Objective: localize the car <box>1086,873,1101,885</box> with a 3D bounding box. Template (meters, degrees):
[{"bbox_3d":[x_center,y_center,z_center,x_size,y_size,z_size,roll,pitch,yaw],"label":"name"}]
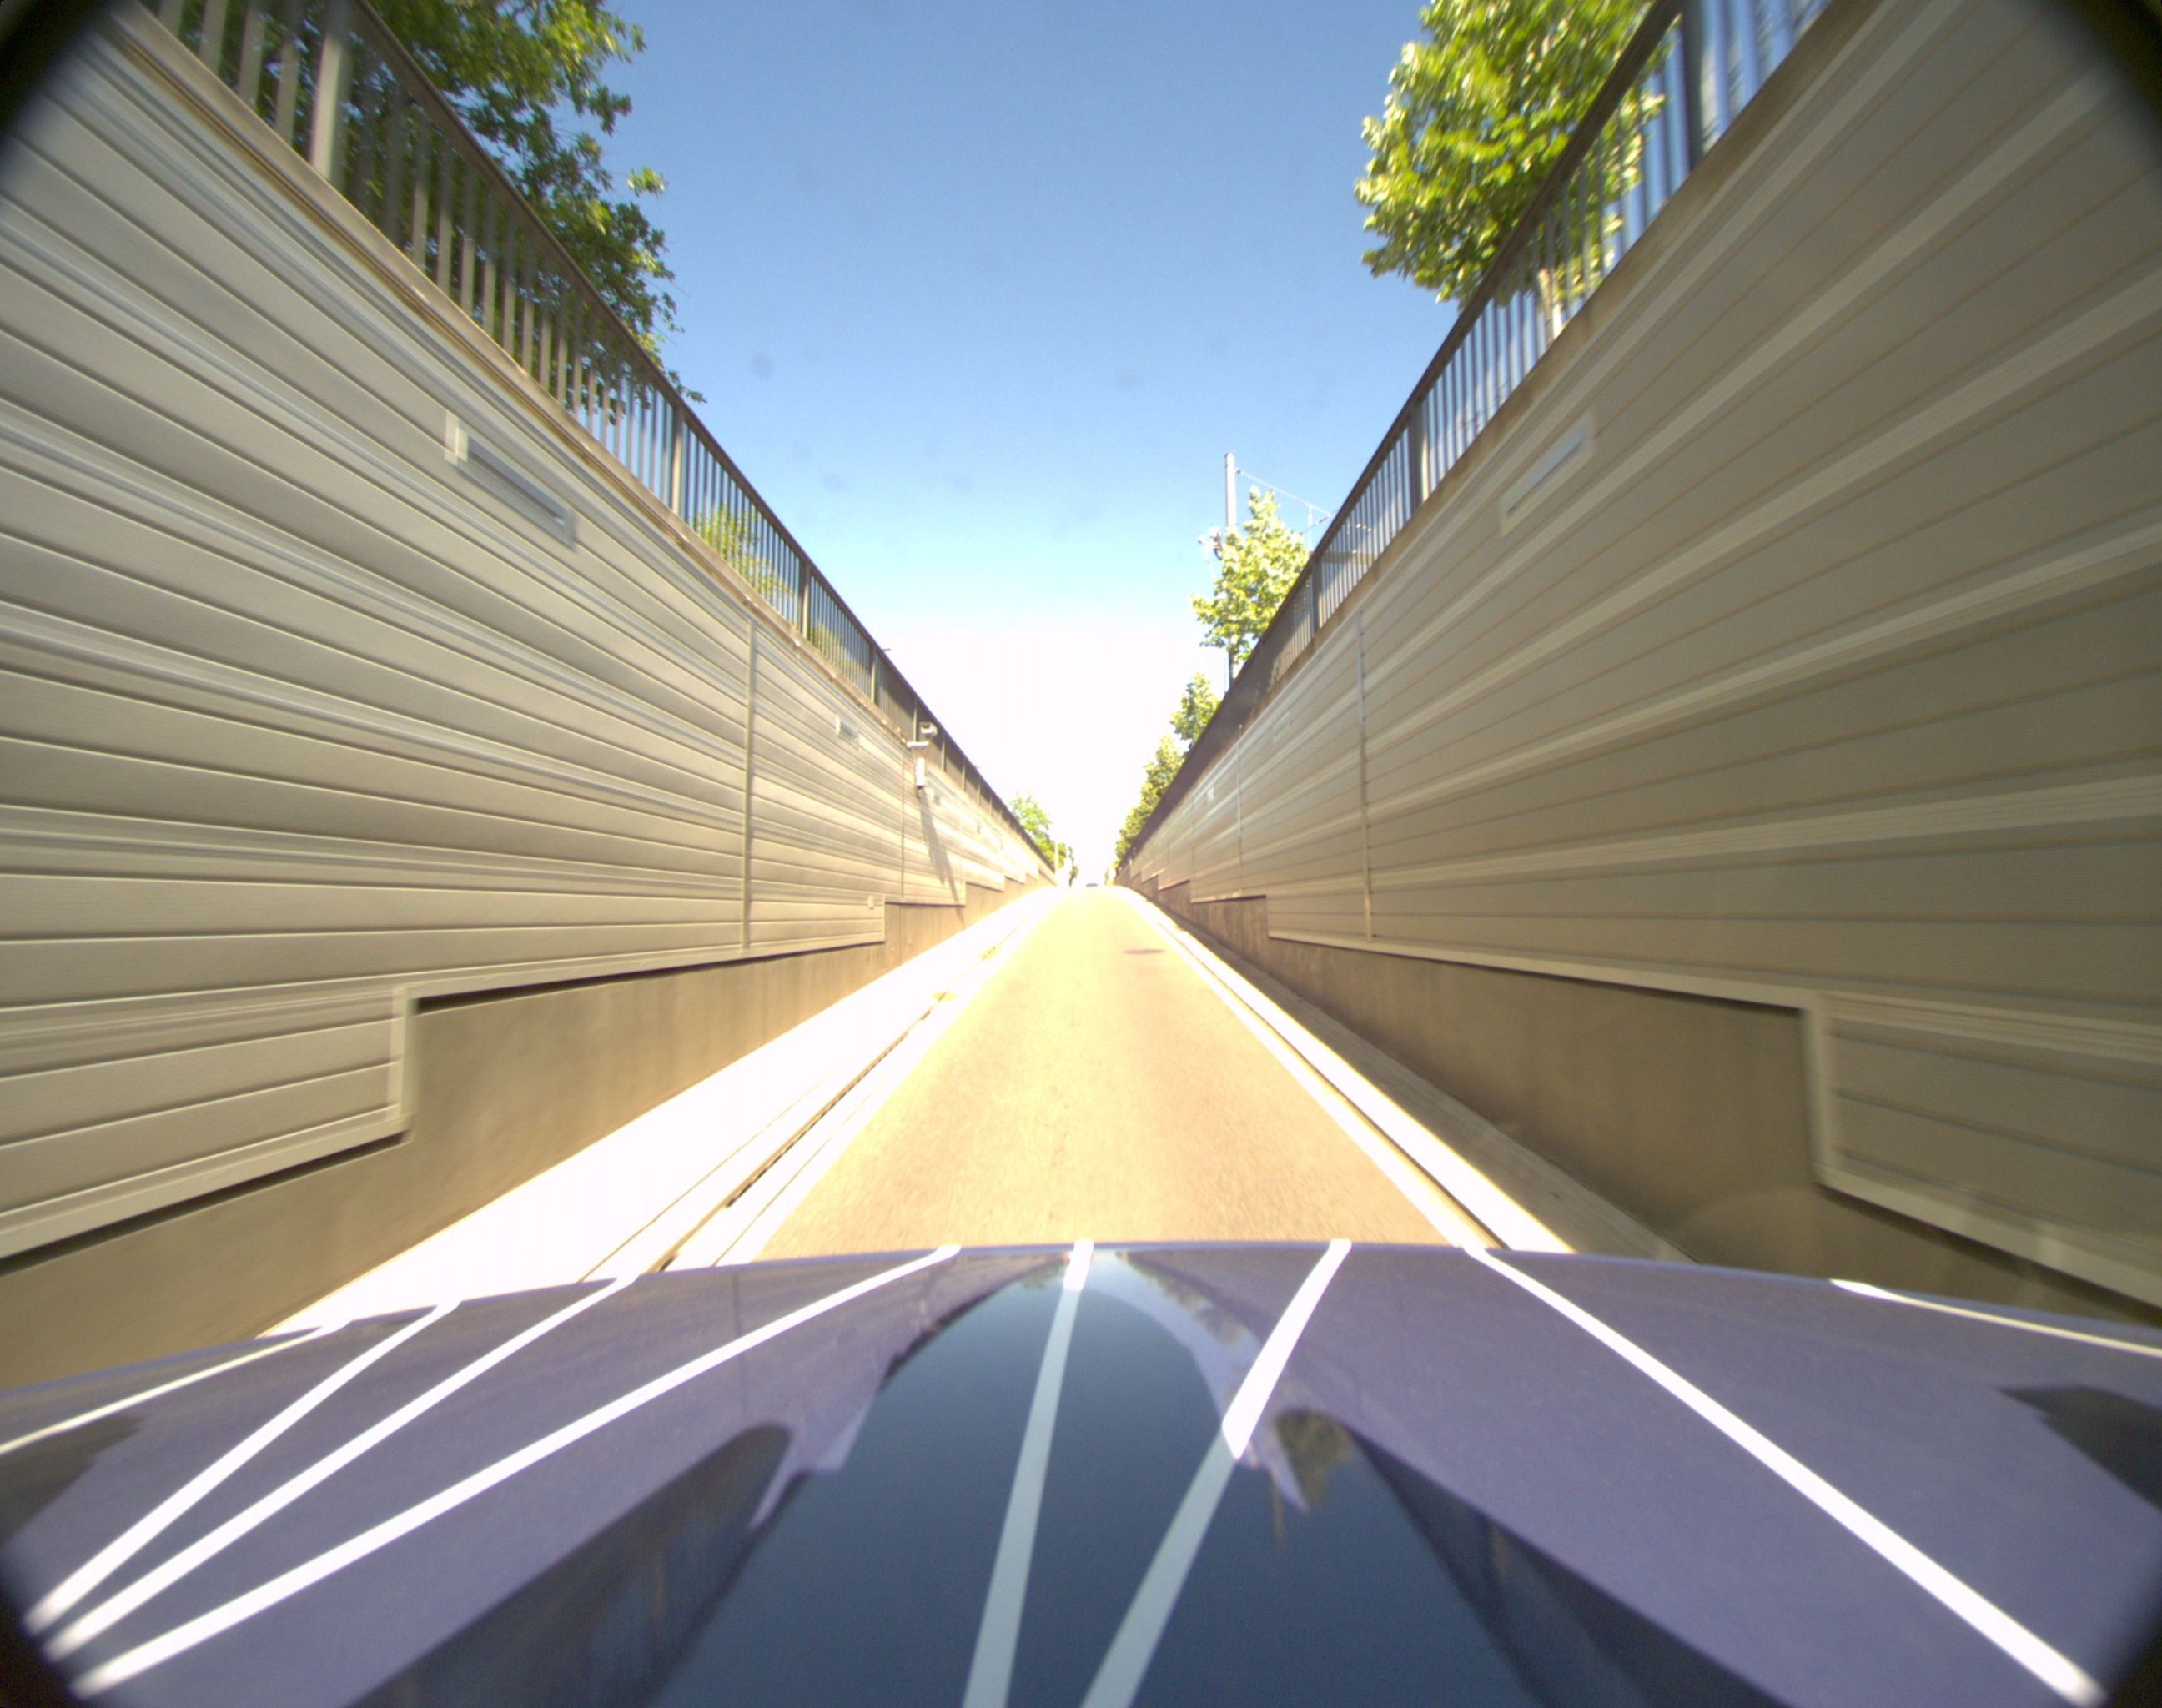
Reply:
[{"bbox_3d":[1.579,3.136,95.049,1.829,1.327,4.003,-1,-4,2],"label":"car"}]
